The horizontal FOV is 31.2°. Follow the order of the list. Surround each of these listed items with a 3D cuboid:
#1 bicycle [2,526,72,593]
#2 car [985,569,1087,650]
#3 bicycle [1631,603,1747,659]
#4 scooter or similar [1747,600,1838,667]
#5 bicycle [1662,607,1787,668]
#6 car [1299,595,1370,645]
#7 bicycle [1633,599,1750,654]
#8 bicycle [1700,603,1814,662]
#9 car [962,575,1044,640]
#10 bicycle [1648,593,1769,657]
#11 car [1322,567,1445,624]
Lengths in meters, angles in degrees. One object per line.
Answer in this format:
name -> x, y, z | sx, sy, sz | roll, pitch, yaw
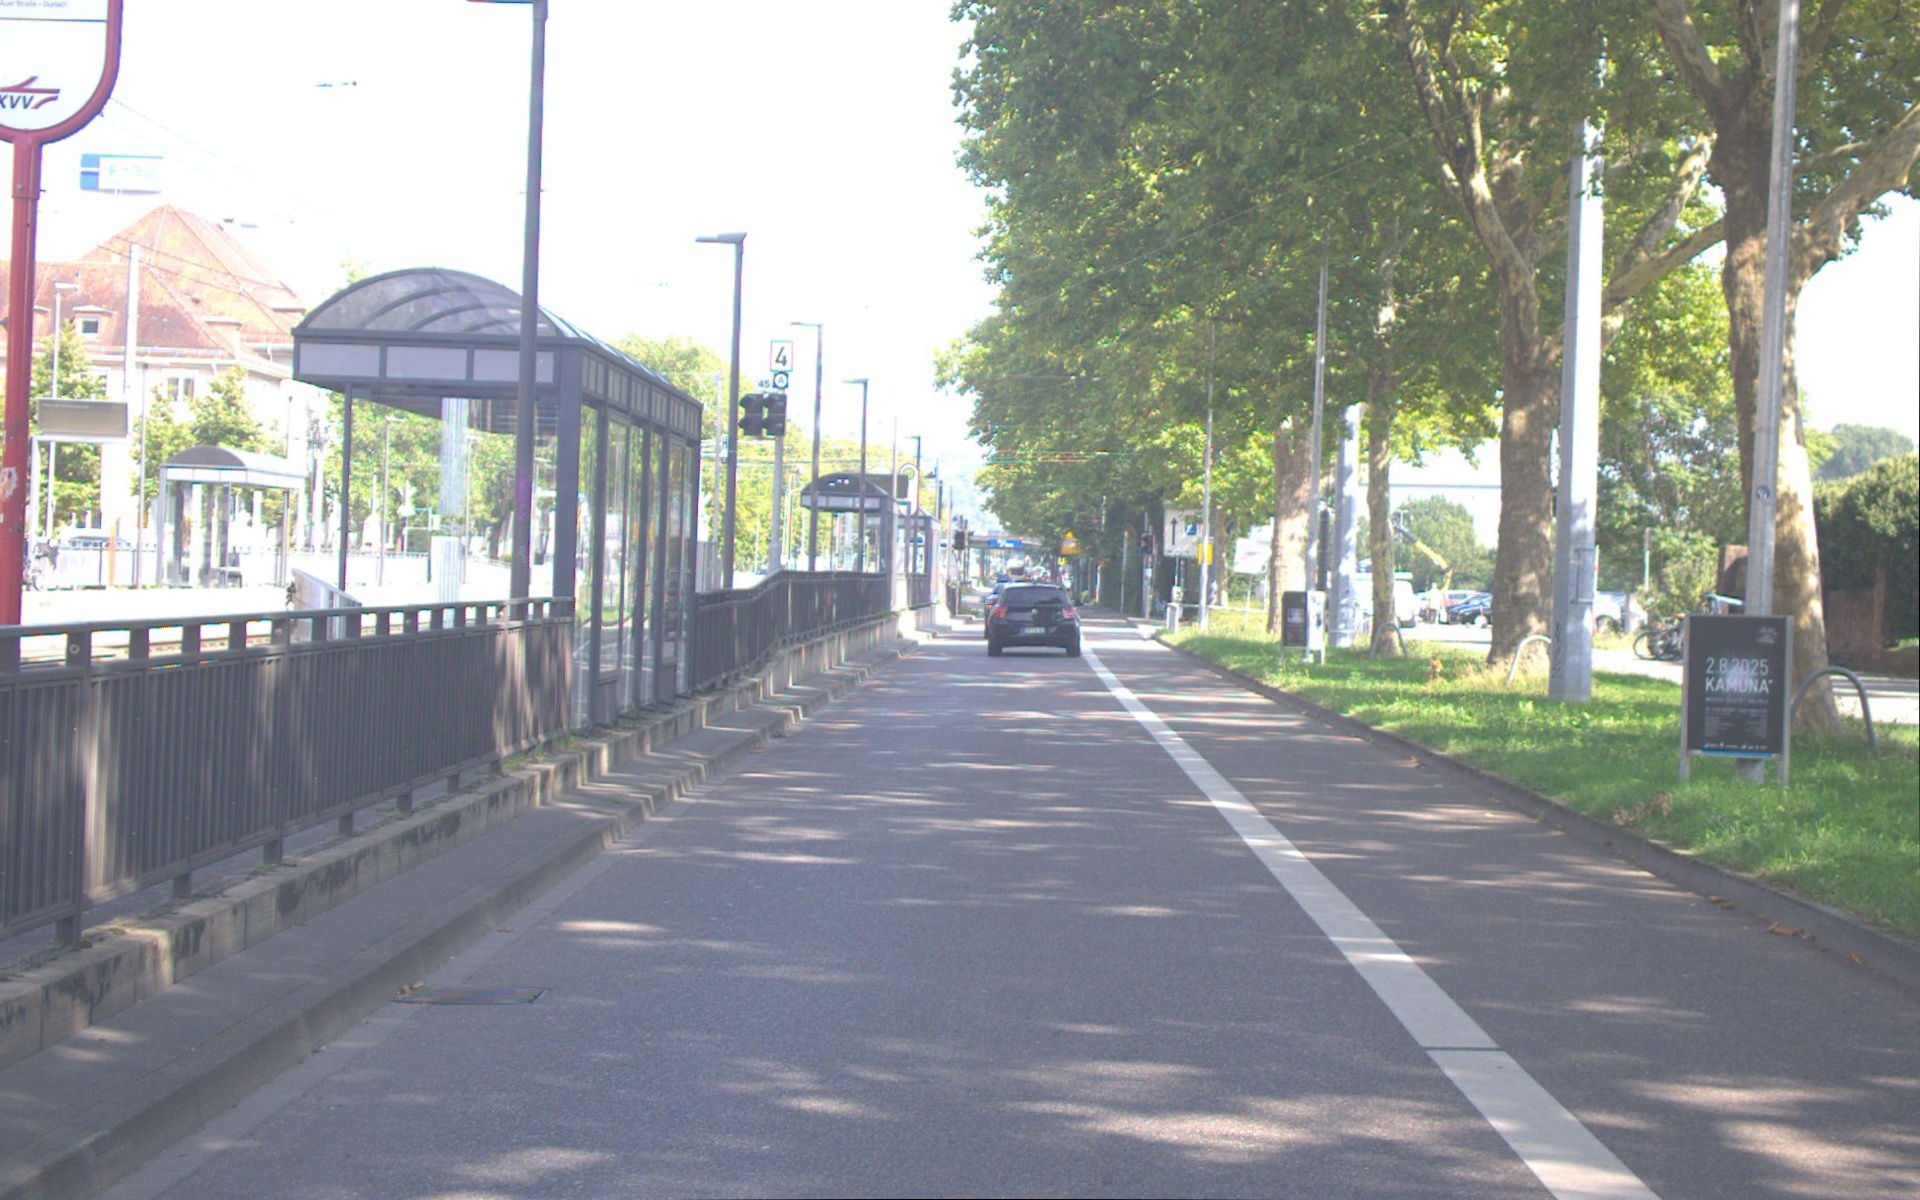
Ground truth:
bicycle -> -16.476, -0.719, 61.385 | 0.471, 1.143, 1.482 | 2, 0, 16
car -> 1.447, 0.169, 66.913 | 1.907, 1.532, 4.000 | 0, 0, 0
bicycle -> 14.505, 0.617, 68.482 | 2.174, 1.073, 0.743 | -1, 0, 5
scooter or similar -> 14.795, 0.594, 61.140 | 1.506, 1.187, 0.538 | 0, 0, 5
bicycle -> 14.551, 0.715, 65.453 | 2.173, 1.073, 0.743 | 2, 0, 0
car -> 11.375, 0.602, 104.696 | 1.728, 1.444, 4.550 | 1, 0, 1
bicycle -> 14.397, 0.523, 67.669 | 2.174, 1.073, 0.743 | 0, 0, 5
bicycle -> 14.490, 0.589, 62.522 | 1.867, 1.003, 0.735 | 2, 0, 0
car -> 1.053, 0.177, 86.340 | 1.973, 1.532, 4.000 | -1, 0, 0
bicycle -> 15.224, 0.509, 69.962 | 2.244, 1.273, 0.999 | 0, -1, 1
car -> 14.511, -0.172, 117.955 | 4.104, 1.912, 1.847 | 0, 0, 4
